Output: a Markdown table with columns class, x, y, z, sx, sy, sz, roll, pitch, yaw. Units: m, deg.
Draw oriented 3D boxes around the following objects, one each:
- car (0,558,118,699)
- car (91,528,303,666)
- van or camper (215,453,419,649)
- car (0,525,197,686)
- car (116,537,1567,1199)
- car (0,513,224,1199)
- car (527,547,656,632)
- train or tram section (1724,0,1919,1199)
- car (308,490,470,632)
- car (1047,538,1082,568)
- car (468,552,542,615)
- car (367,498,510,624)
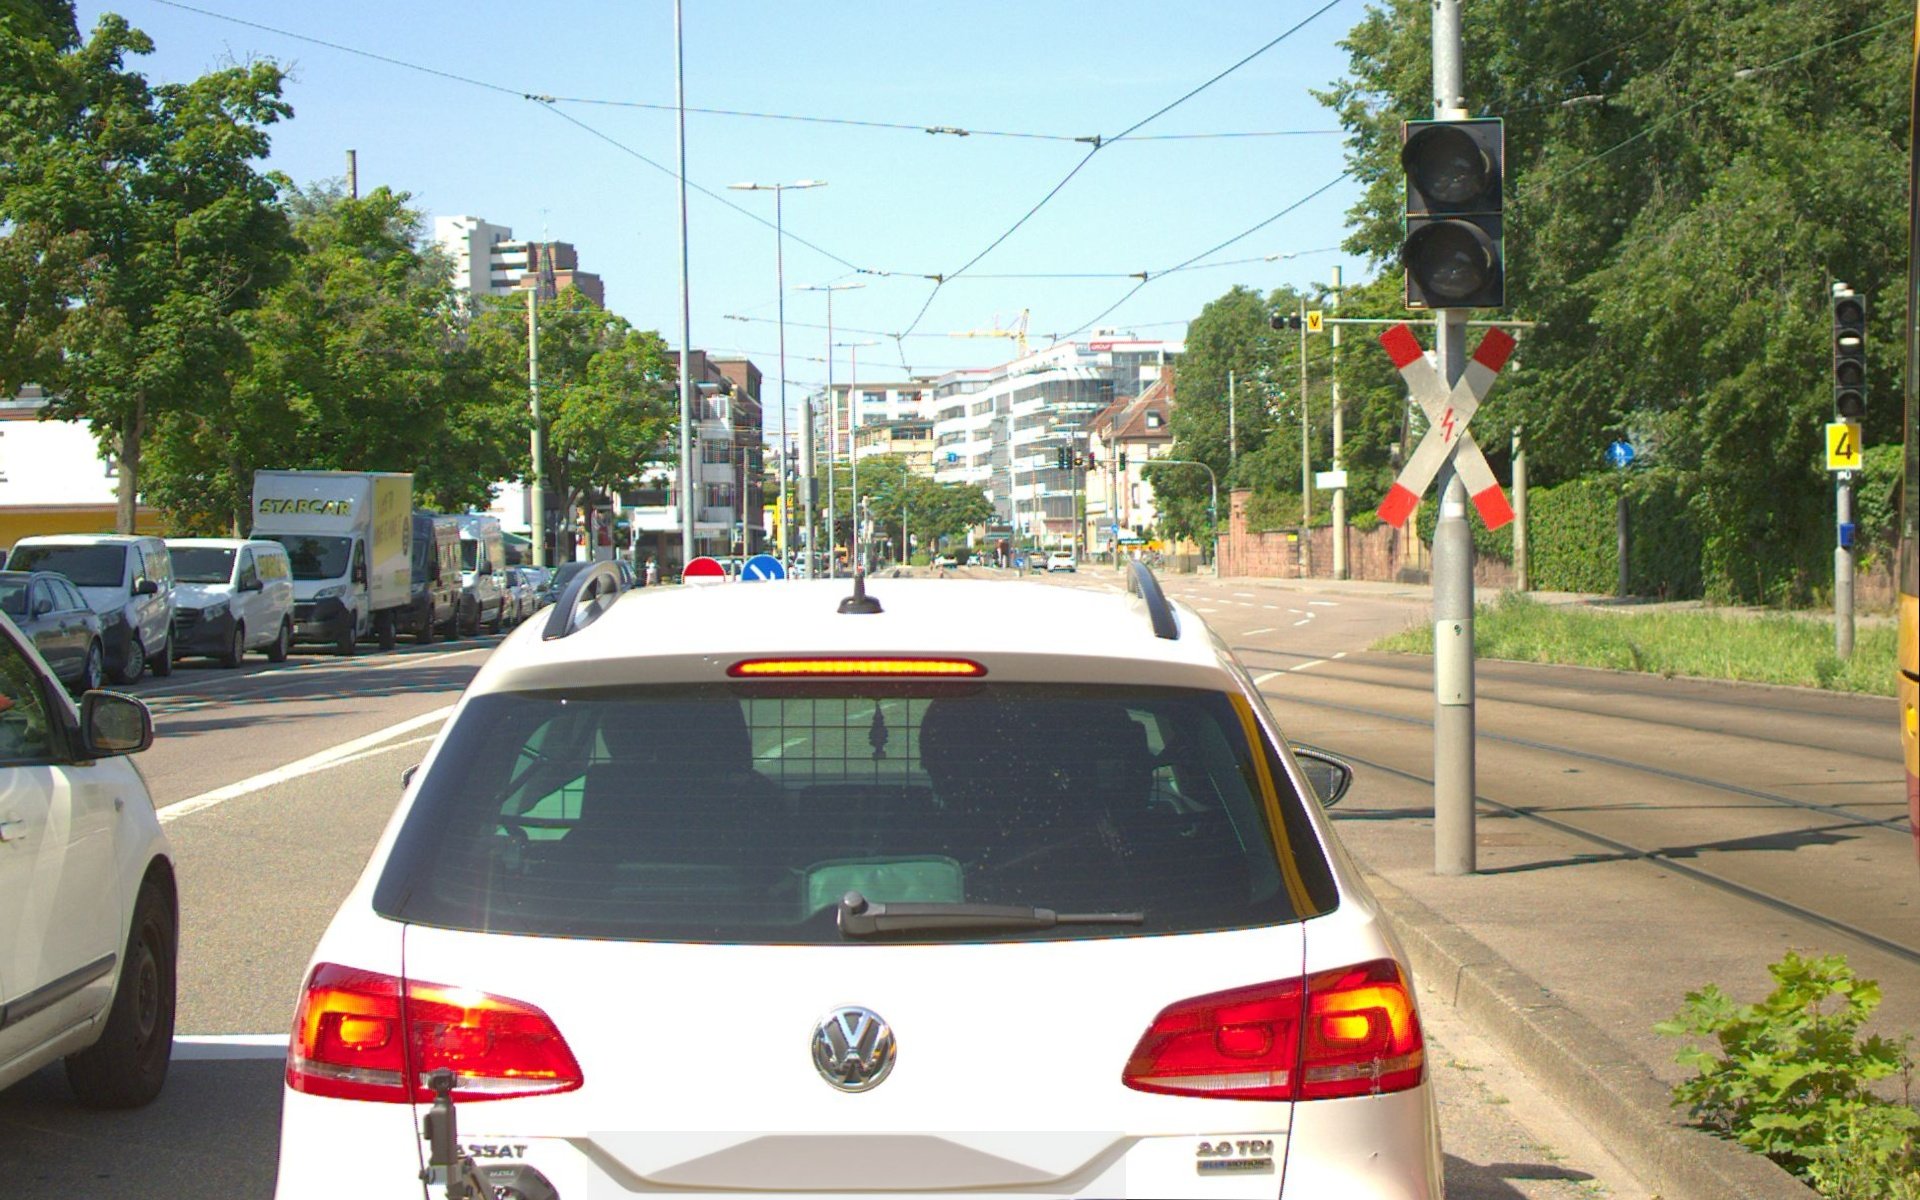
| class | x | y | z | sx | sy | sz | roll | pitch | yaw |
| --- | --- | --- | --- | --- | --- | --- | --- | --- | --- |
| car | -11.021 | 0.294 | 38.609 | 1.932 | 1.449 | 4.886 | -2 | 1 | -1 |
| car | -11.464 | -0.087 | 52.022 | 2.195 | 1.934 | 5.185 | -2 | 1 | -2 |
| van or camper | -11.174 | -0.872 | 60.303 | 2.196 | 3.230 | 6.772 | 1 | 1 | 1 |
| car | -11.498 | 0.031 | 45.015 | 2.195 | 1.934 | 5.186 | -2 | 1 | -4 |
| car | -0.150 | 0.649 | 6.181 | 1.778 | 1.485 | 3.847 | 1 | 1 | 0 |
| car | -2.981 | 0.595 | 7.857 | 1.730 | 1.591 | 4.011 | 0 | 1 | 0 |
| car | -6.753 | -0.223 | 63.386 | 1.785 | 1.404 | 4.305 | -1 | 2 | 2 |
| train or tram section | 3.753 | -0.268 | 2.819 | 2.670 | 3.639 | 15.306 | 1 | 1 | 0 |
| car | -11.259 | -0.800 | 68.235 | 2.196 | 2.659 | 6.080 | 1 | 1 | 0 |
| car | 7.214 | -3.244 | 237.693 | 2.126 | 2.007 | 5.283 | -2 | 1 | -1 |
| car | -11.351 | -0.436 | 85.912 | 1.291 | 1.485 | 4.351 | 1 | 1 | -1 |
| car | -11.313 | -0.872 | 74.952 | 2.196 | 2.621 | 5.979 | 1 | 1 | 0 |
